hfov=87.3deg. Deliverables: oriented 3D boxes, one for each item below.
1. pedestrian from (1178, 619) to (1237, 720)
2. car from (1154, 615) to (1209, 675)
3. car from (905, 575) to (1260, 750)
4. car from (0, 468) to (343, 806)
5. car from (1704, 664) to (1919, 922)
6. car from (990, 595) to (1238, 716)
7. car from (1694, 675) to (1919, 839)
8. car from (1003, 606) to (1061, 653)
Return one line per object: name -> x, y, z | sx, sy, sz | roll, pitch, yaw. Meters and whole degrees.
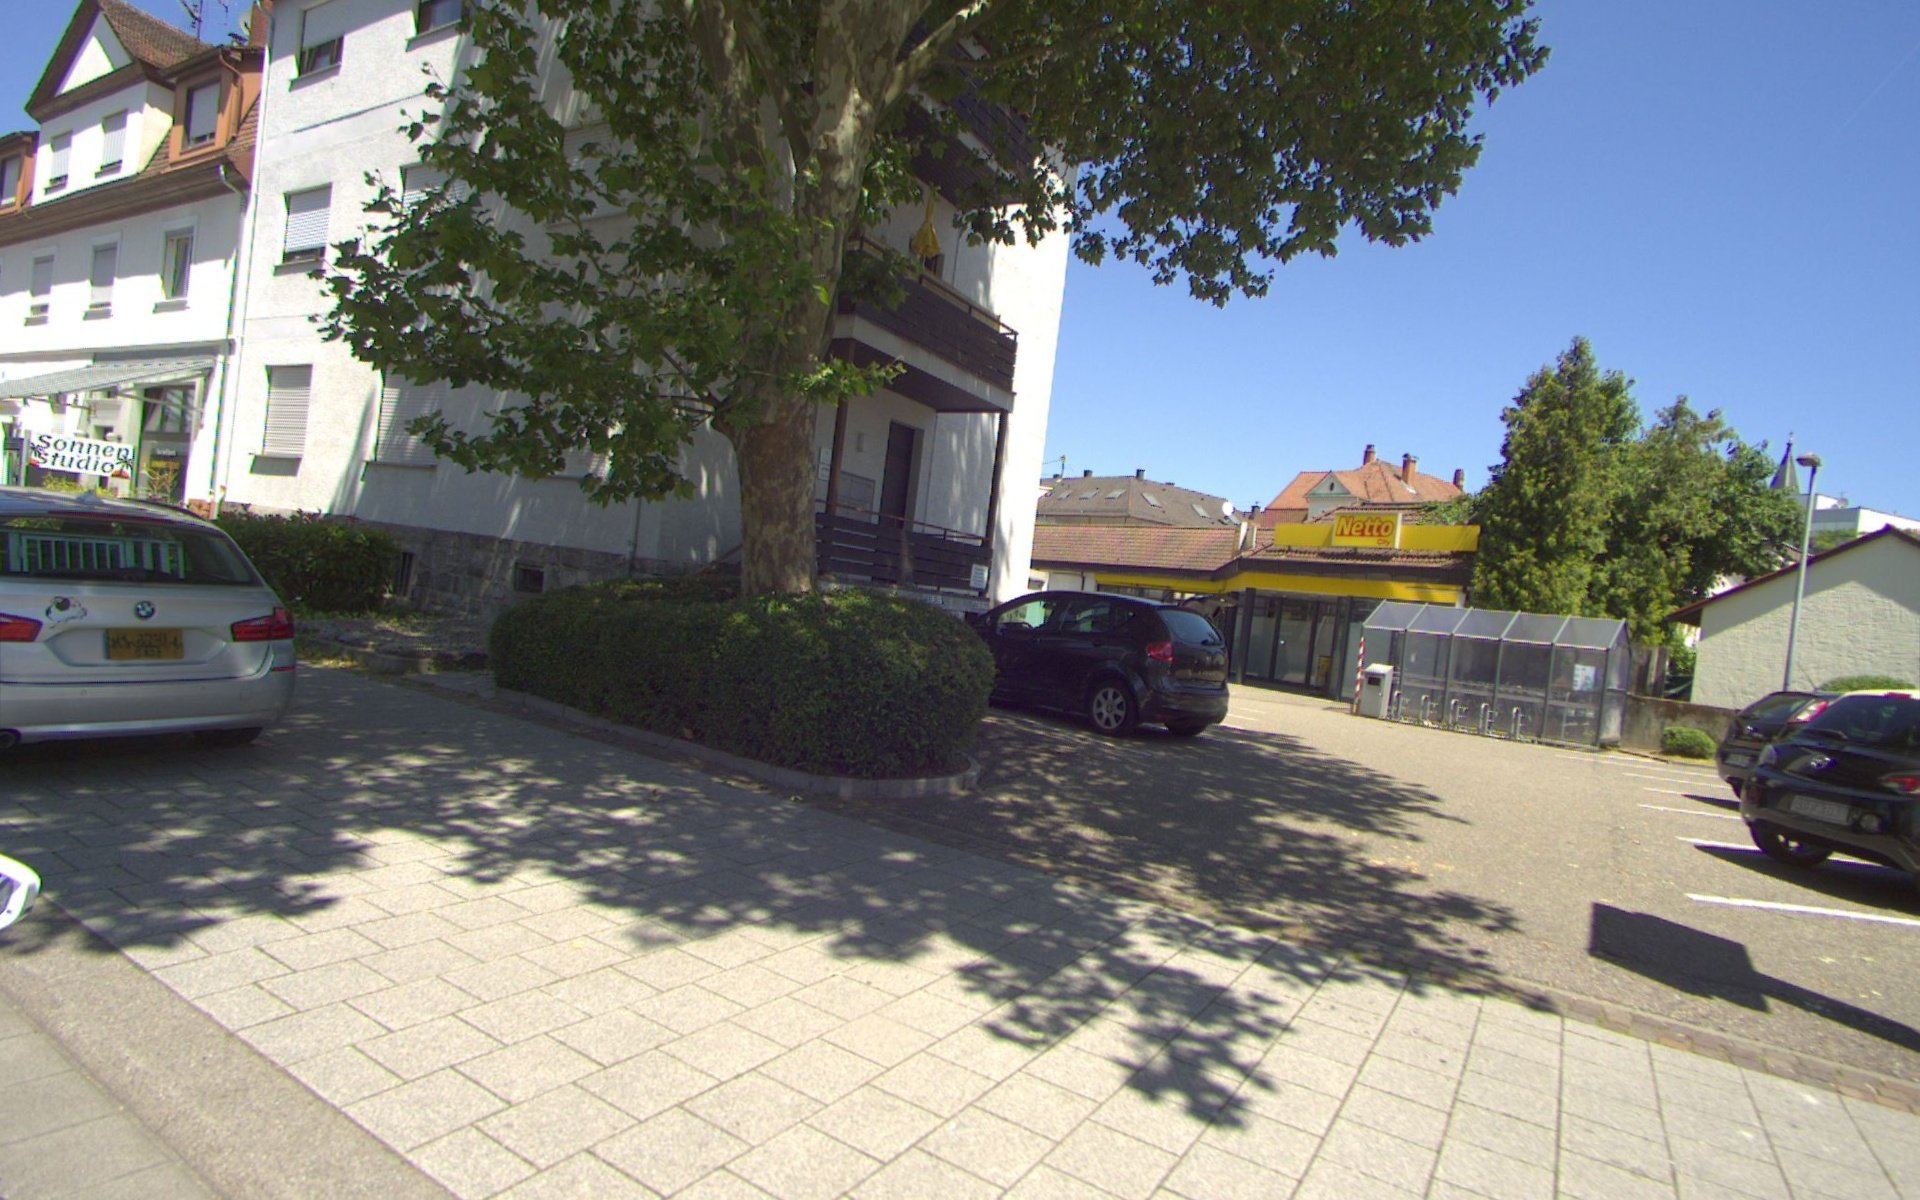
pedestrian -> 3.855, 1.078, 15.647 | 0.508, 1.487, 0.602 | 7, 2, 43
car -> 7.610, 1.526, 34.753 | 1.556, 1.799, 3.636 | 7, 0, 12
car -> 1.373, 0.679, 12.435 | 4.044, 1.562, 1.680 | 7, 1, 44
car -> -6.028, -0.031, 6.203 | 4.681, 1.531, 1.830 | 7, 2, 32
car -> 7.724, 1.461, 7.157 | 3.398, 1.518, 1.737 | 7, 1, 1
car -> 2.560, 0.910, 17.253 | 3.706, 1.556, 1.832 | 7, 0, 43
car -> 10.733, 1.830, 11.248 | 3.561, 1.518, 1.739 | 6, -1, 14
car -> 2.776, 1.104, 39.508 | 1.610, 1.527, 3.721 | 6, 0, -5
